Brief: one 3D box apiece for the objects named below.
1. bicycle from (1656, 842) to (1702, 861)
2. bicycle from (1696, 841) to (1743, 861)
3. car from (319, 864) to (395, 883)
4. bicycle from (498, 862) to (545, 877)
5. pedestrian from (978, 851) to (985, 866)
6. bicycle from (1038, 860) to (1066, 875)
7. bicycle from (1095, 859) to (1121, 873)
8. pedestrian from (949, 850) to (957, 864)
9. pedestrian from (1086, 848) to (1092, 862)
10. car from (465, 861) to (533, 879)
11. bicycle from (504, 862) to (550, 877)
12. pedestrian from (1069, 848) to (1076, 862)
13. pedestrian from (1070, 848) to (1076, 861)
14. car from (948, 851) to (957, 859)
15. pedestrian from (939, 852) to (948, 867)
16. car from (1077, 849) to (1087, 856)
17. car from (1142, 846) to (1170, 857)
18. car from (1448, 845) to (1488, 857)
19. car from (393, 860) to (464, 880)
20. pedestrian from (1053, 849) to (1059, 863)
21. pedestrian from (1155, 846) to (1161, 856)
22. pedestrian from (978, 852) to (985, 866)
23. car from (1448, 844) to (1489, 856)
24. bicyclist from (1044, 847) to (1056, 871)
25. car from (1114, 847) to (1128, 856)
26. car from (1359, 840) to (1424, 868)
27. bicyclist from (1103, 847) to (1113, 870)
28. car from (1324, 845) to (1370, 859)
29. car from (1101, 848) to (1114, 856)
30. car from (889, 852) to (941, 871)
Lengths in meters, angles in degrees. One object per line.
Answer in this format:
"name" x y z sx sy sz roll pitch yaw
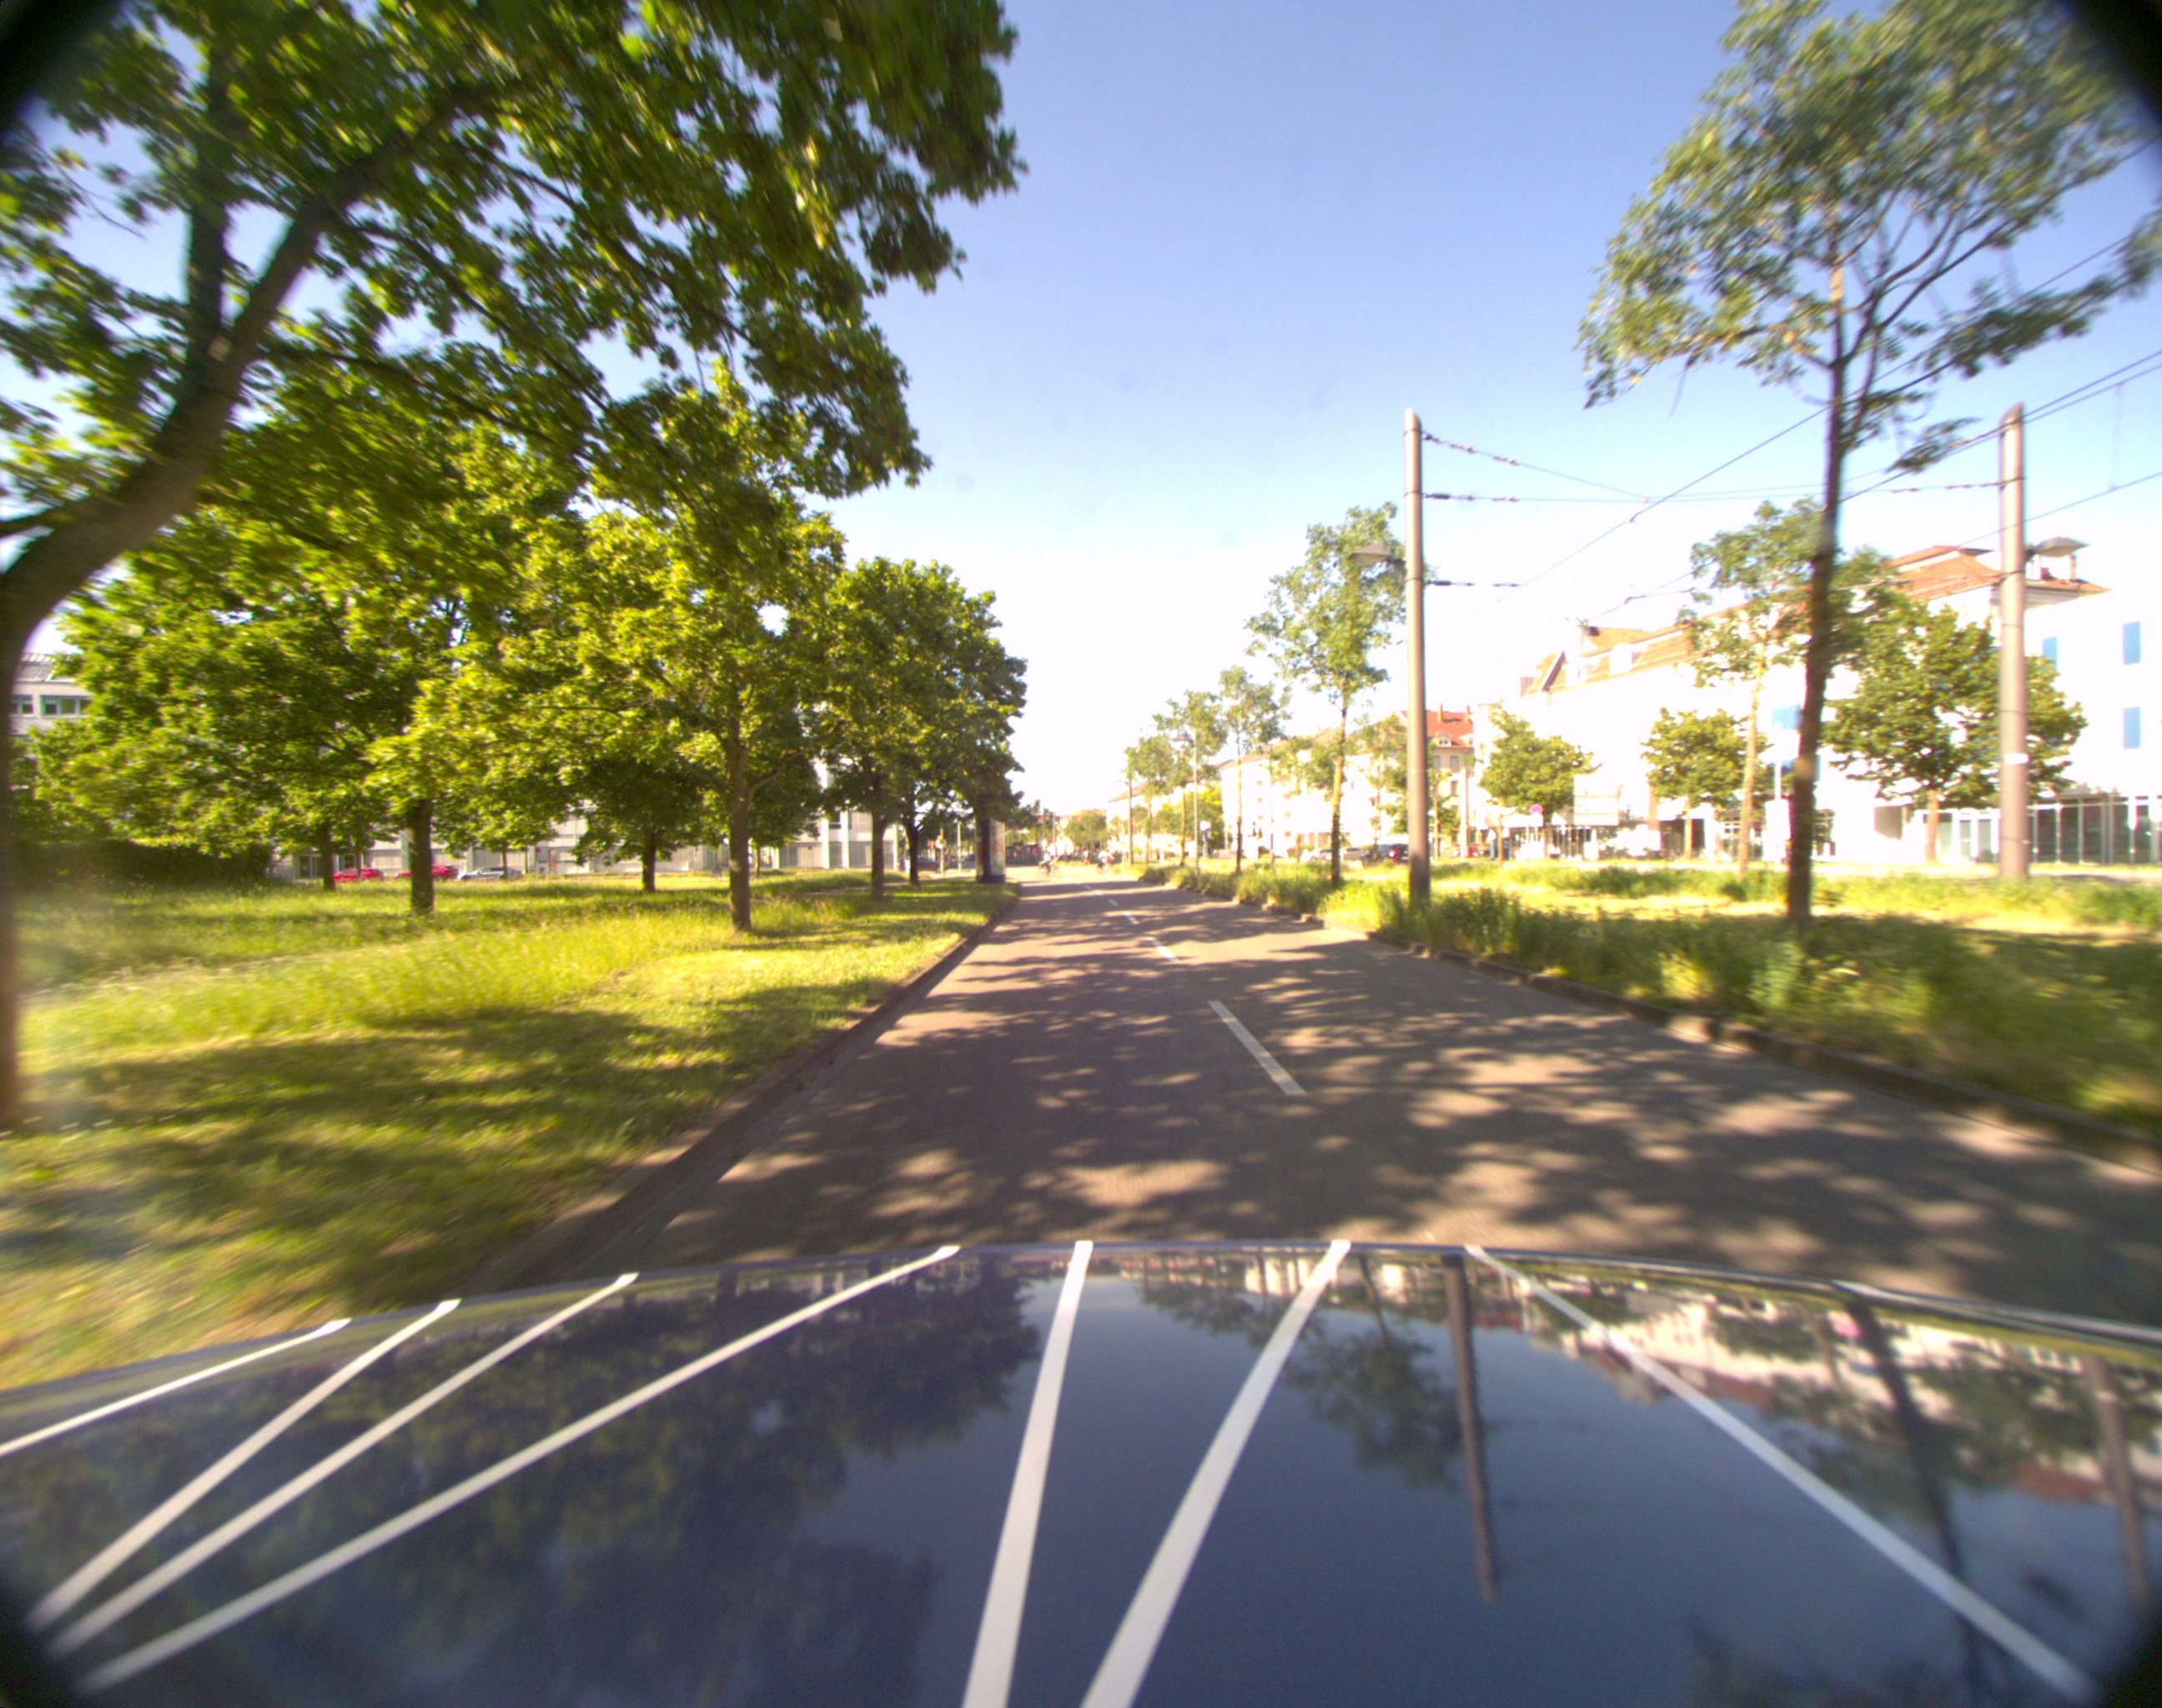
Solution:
"bicycle" 39.004 -0.185 49.597 0.719 1.206 2.551 -1 0 -7
"bicycle" 40.282 -0.184 47.944 2.552 1.206 0.719 -1 1 -7
"car" -62.720 1.676 65.886 4.290 1.412 1.916 -1 0 -16
"bicycle" -54.113 1.526 73.548 3.536 1.340 0.989 -1 1 -13
"pedestrian" -11.969 0.528 91.412 0.733 1.687 0.735 -1 1 -7
"bicycle" -1.964 0.944 51.807 1.828 0.958 0.855 -1 1 -6
"bicycle" 1.948 0.847 55.548 1.827 0.958 0.817 -1 1 -2
"pedestrian" -15.726 0.402 93.141 0.882 1.687 0.735 -1 1 -7
"pedestrian" 0.959 0.163 92.229 0.723 1.687 0.608 -1 1 -7
"car" -51.227 1.365 66.923 4.290 1.412 1.916 -1 0 -16
"bicycle" -54.327 1.517 74.580 3.536 1.340 0.989 -1 1 -13
"pedestrian" -1.067 0.131 95.200 0.733 1.687 0.735 -1 1 -7
"pedestrian" -1.004 0.066 96.413 0.733 1.687 0.735 -1 1 -7
"car" -26.797 0.247 158.549 1.694 1.700 4.236 -1 0 -13
"pedestrian" -16.098 0.671 88.868 0.732 1.687 0.736 -1 1 9
"car" 0.273 -0.329 187.902 1.694 1.700 4.236 -1 0 -13
"car" 12.343 -0.475 125.384 4.232 1.700 1.696 -1 1 18
"car" 46.020 -0.380 90.420 4.091 1.303 1.701 -1 0 -14
"car" -57.706 1.424 67.257 4.290 1.585 1.916 -1 0 -16
"pedestrian" -3.105 0.197 93.693 0.641 1.687 0.607 -1 1 -11
"pedestrian" 12.604 -0.486 124.195 0.786 1.701 0.703 -1 1 -13
"pedestrian" -12.091 0.555 92.471 0.733 1.687 0.735 -1 1 -7
"car" 44.307 -0.414 86.861 4.091 1.303 1.701 -1 0 -14
"bicyclist" -2.115 0.353 51.789 0.715 1.591 0.849 -1 1 -6
"car" 8.096 -0.480 152.914 1.694 1.700 4.236 -1 0 -13
"car" 19.127 0.000 47.030 1.825 1.631 4.486 -1 0 -6
"bicyclist" 1.970 0.315 55.543 0.715 1.682 0.817 -1 1 -2
"car" 29.157 -0.181 83.289 4.191 1.457 2.331 -1 0 -14
"car" 5.608 -0.462 162.906 1.694 1.700 4.236 -1 0 -13
"car" -15.209 0.655 69.784 4.632 1.613 1.998 -1 1 -11
